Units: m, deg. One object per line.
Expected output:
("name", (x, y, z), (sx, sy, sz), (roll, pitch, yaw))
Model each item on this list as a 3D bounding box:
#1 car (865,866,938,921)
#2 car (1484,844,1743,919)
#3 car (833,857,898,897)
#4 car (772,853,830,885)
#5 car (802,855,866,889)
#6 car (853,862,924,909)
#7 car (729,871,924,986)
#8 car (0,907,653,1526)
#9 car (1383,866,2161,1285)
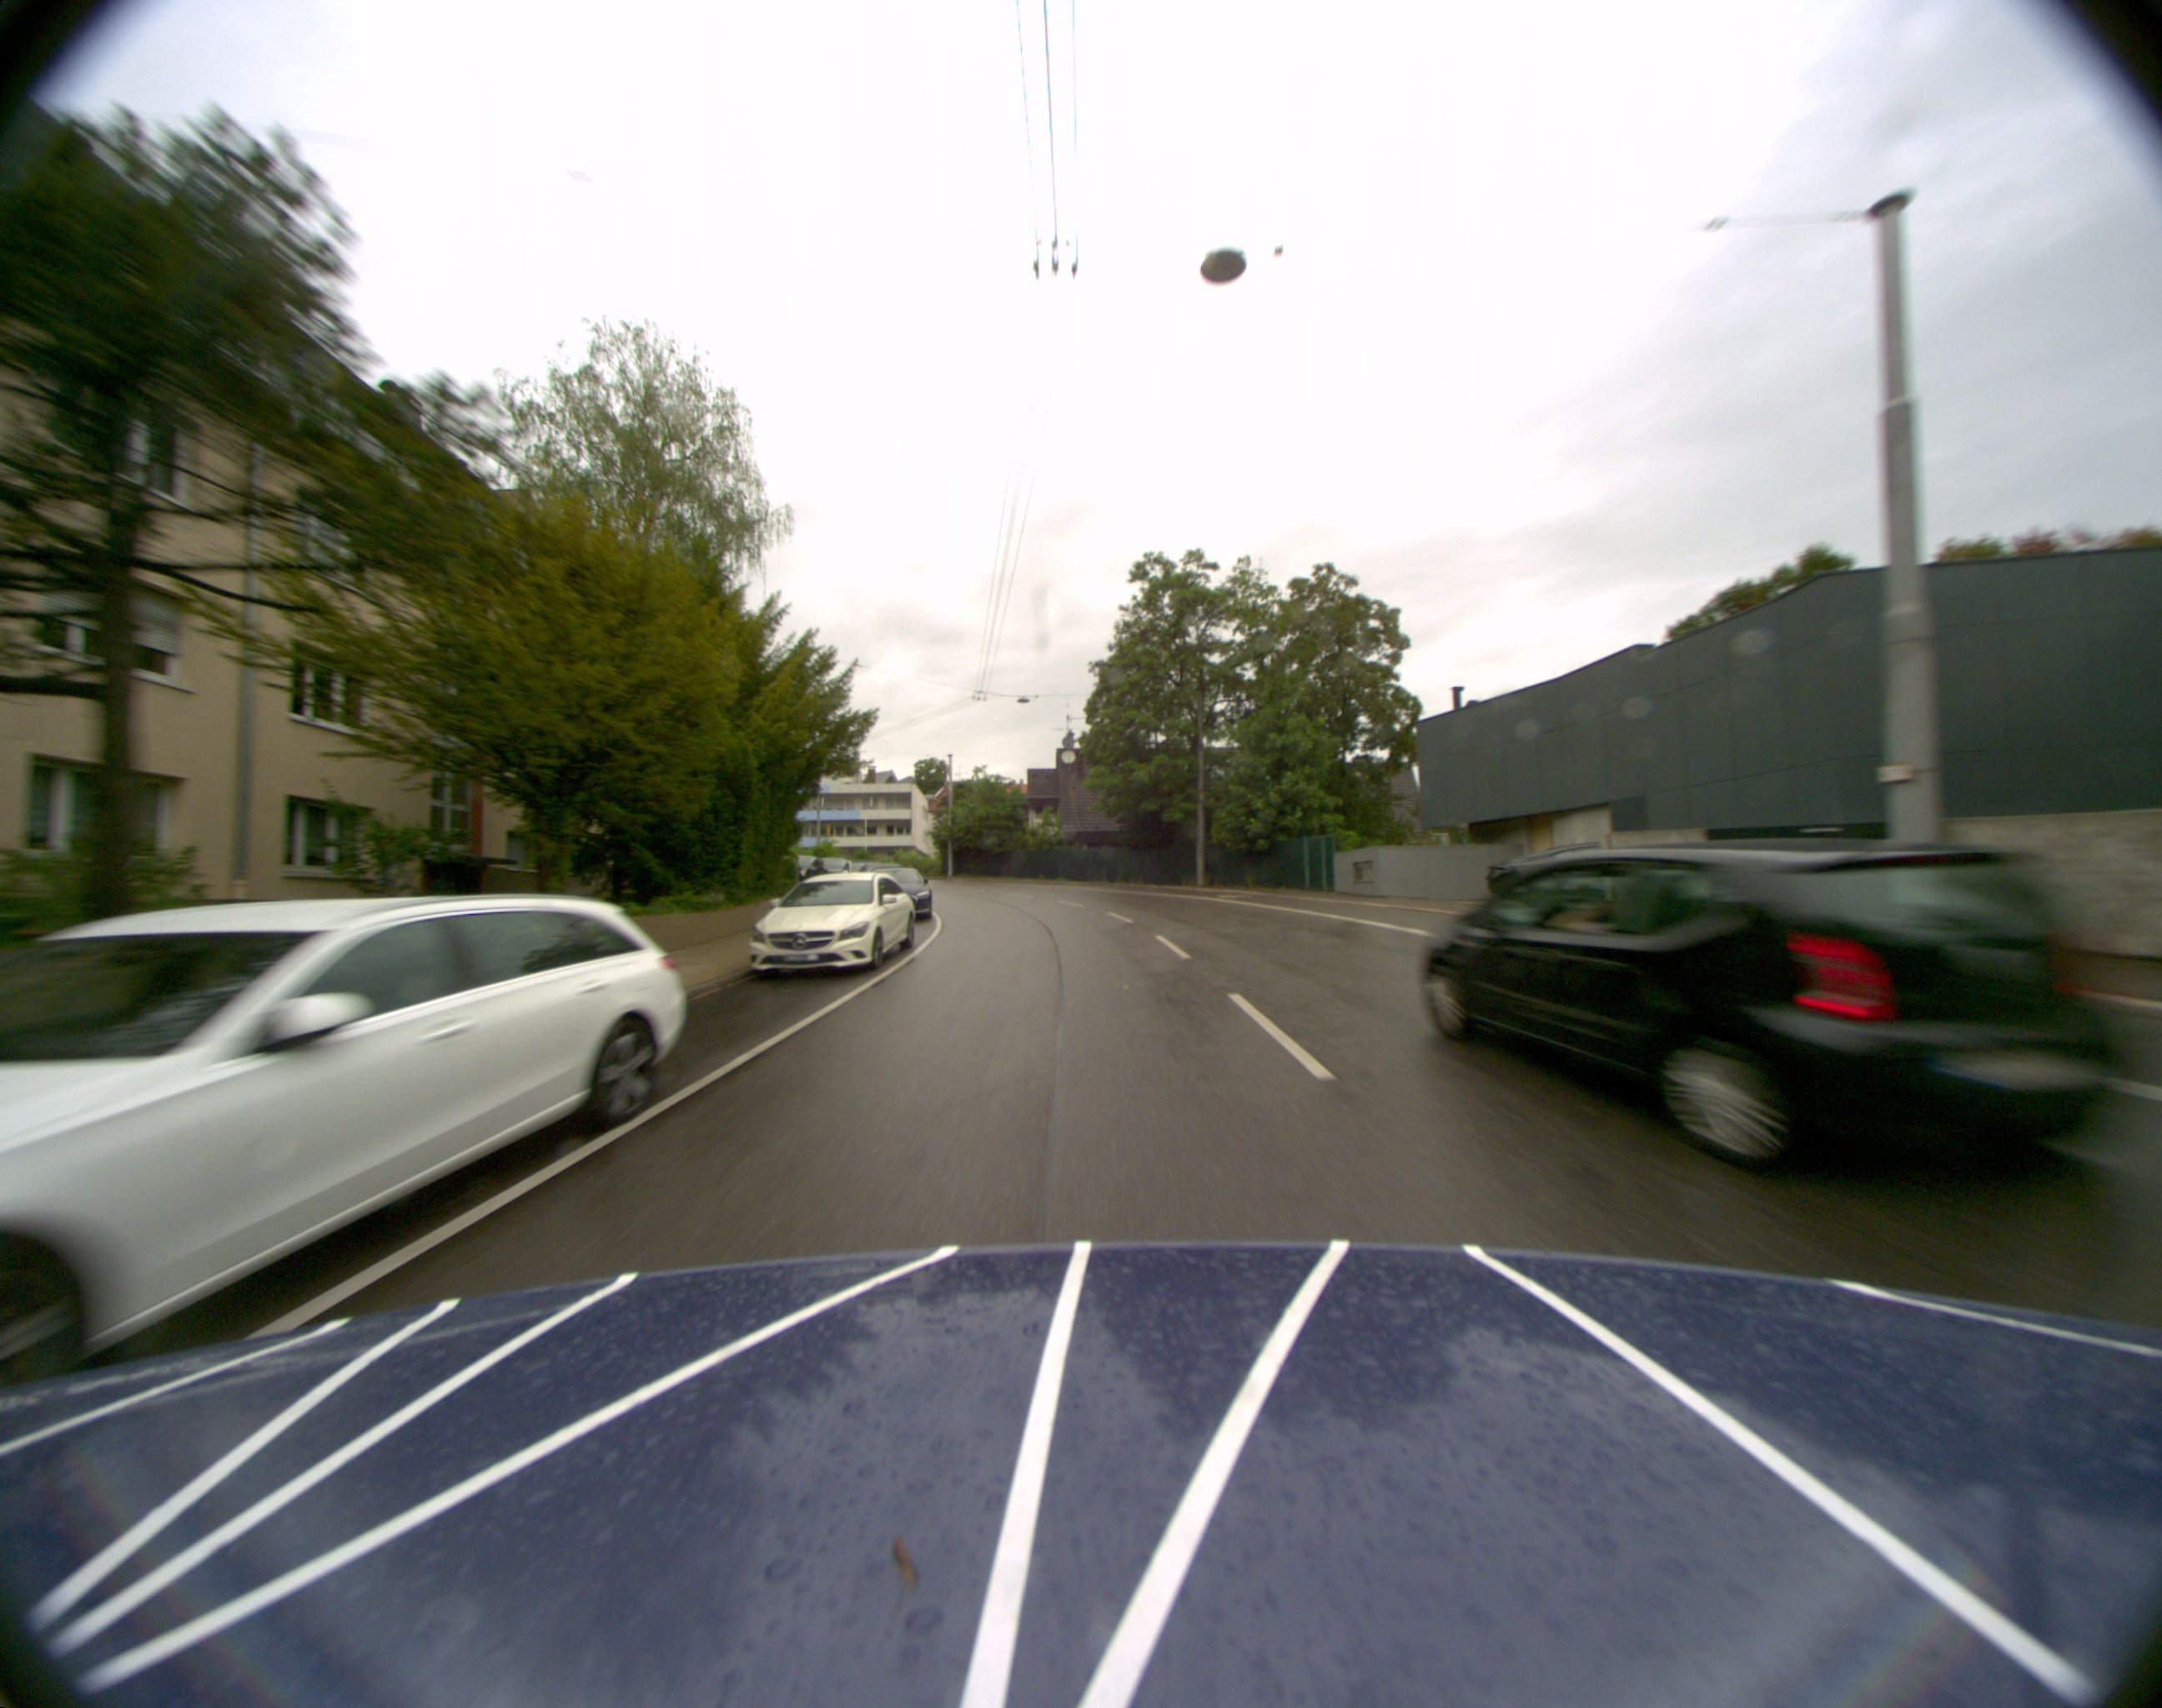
("car", (-5.240, 1.064, 21.855), (1.814, 1.340, 4.613), (2, -1, -15))
("car", (10.385, 0.505, 15.114), (3.989, 1.293, 1.901), (-1, 0, 34))
("car", (-8.748, 0.921, 30.679), (1.690, 1.462, 3.730), (4, -2, -29))
("car", (-14.470, 0.743, 39.142), (1.629, 1.496, 3.595), (4, -2, -39))
("car", (-11.518, 0.802, 35.234), (1.724, 1.426, 4.058), (4, -2, -34))
("car", (-6.862, 1.056, 26.787), (1.815, 1.427, 4.522), (2, -1, -22))
("car", (-3.920, 1.062, 12.596), (1.784, 1.427, 4.568), (-2, 0, -2))
("car", (-3.776, 1.071, 2.968), (1.812, 1.447, 4.254), (-1, 0, 0))
("car", (3.593, 0.836, 4.717), (1.654, 1.411, 3.801), (-3, 0, -4))
